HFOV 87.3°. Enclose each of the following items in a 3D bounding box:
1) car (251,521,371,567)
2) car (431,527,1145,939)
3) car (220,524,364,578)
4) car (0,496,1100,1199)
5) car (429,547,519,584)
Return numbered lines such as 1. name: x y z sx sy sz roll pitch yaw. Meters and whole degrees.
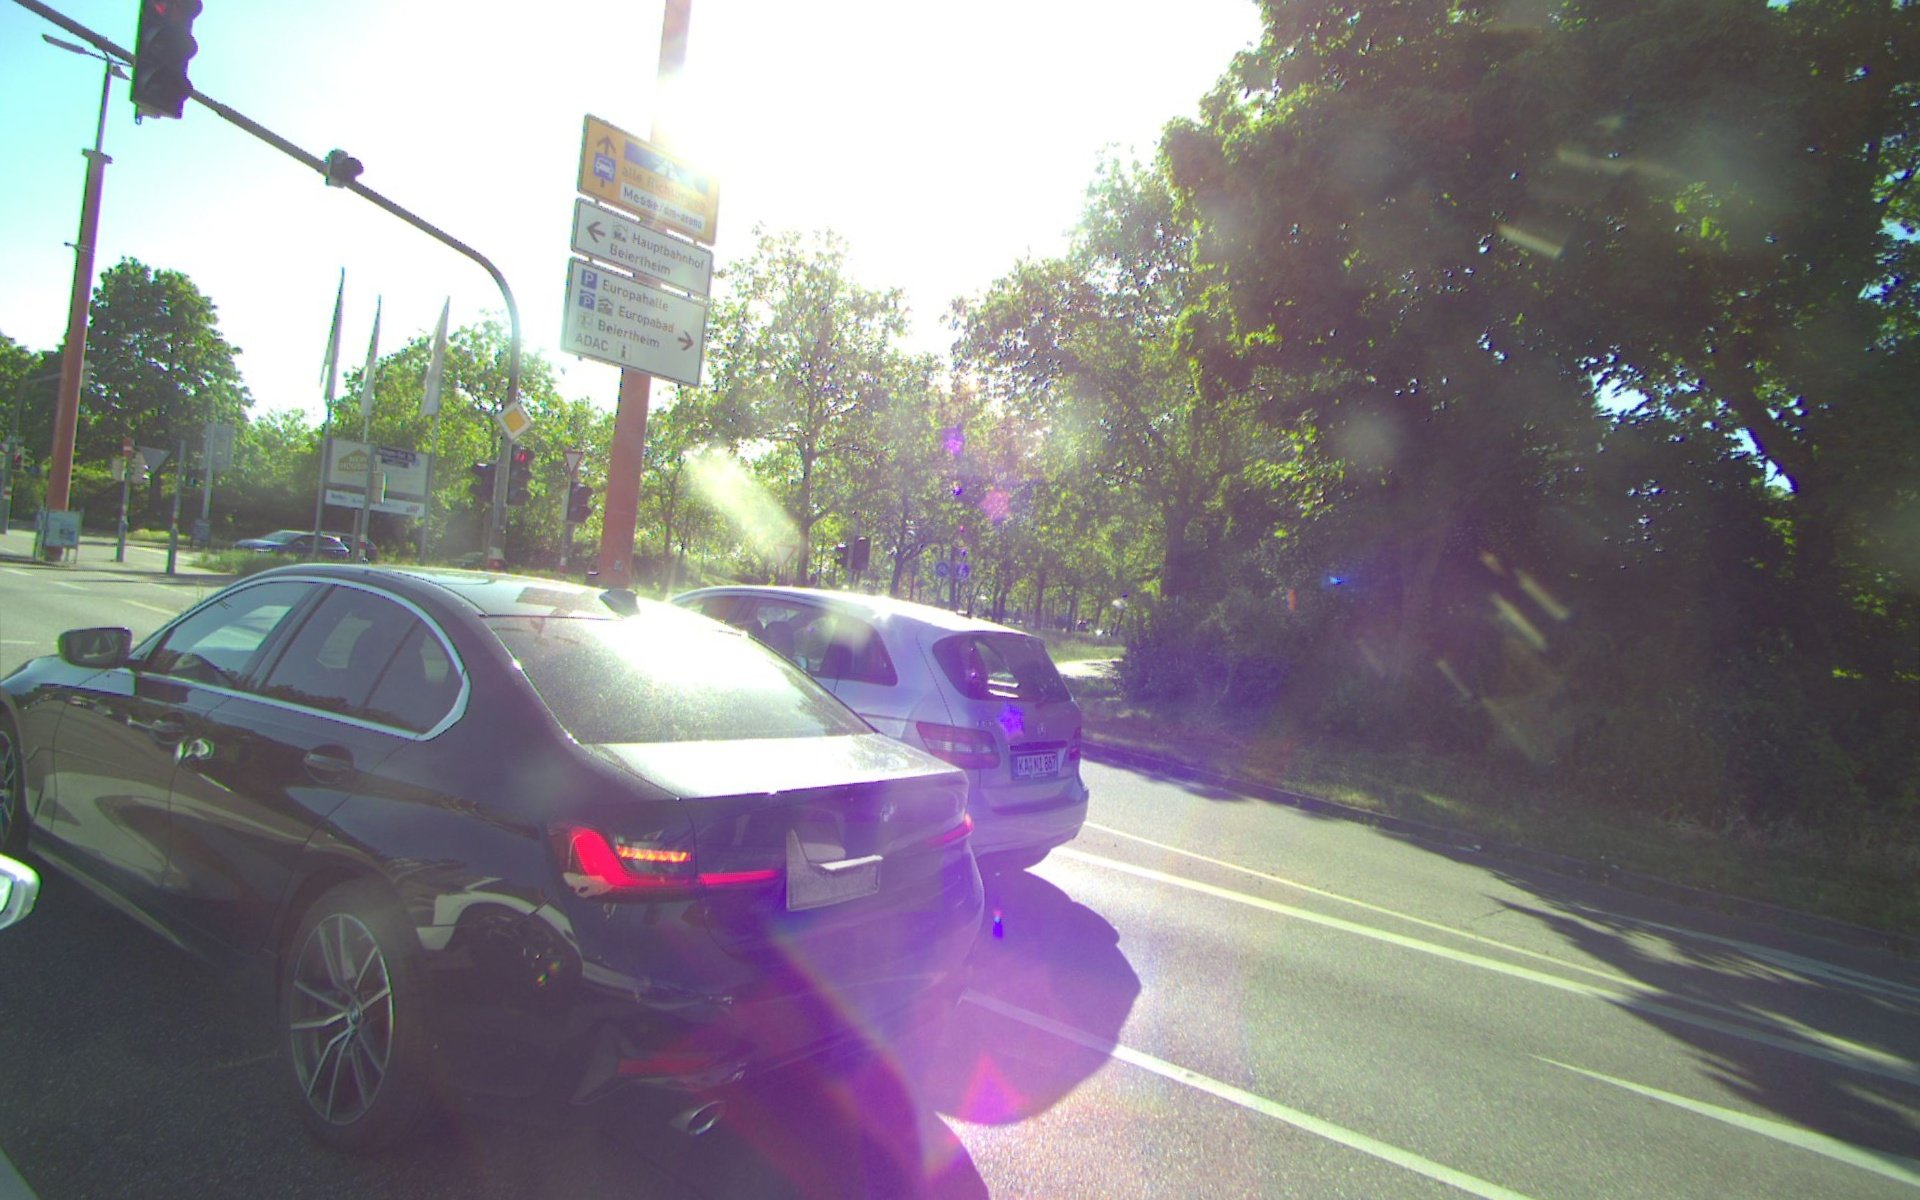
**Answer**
1. car: -32.973 -2.821 51.264 2.130 1.592 4.573 7 -1 32
2. car: -1.275 0.640 6.791 4.403 1.706 1.970 7 -1 32
3. car: -25.083 -1.810 37.983 1.848 1.445 4.283 7 -1 14
4. car: -1.953 0.529 3.883 4.403 1.411 1.996 7 0 32
5. car: -28.733 -2.038 59.592 2.128 1.592 4.276 7 -1 27
